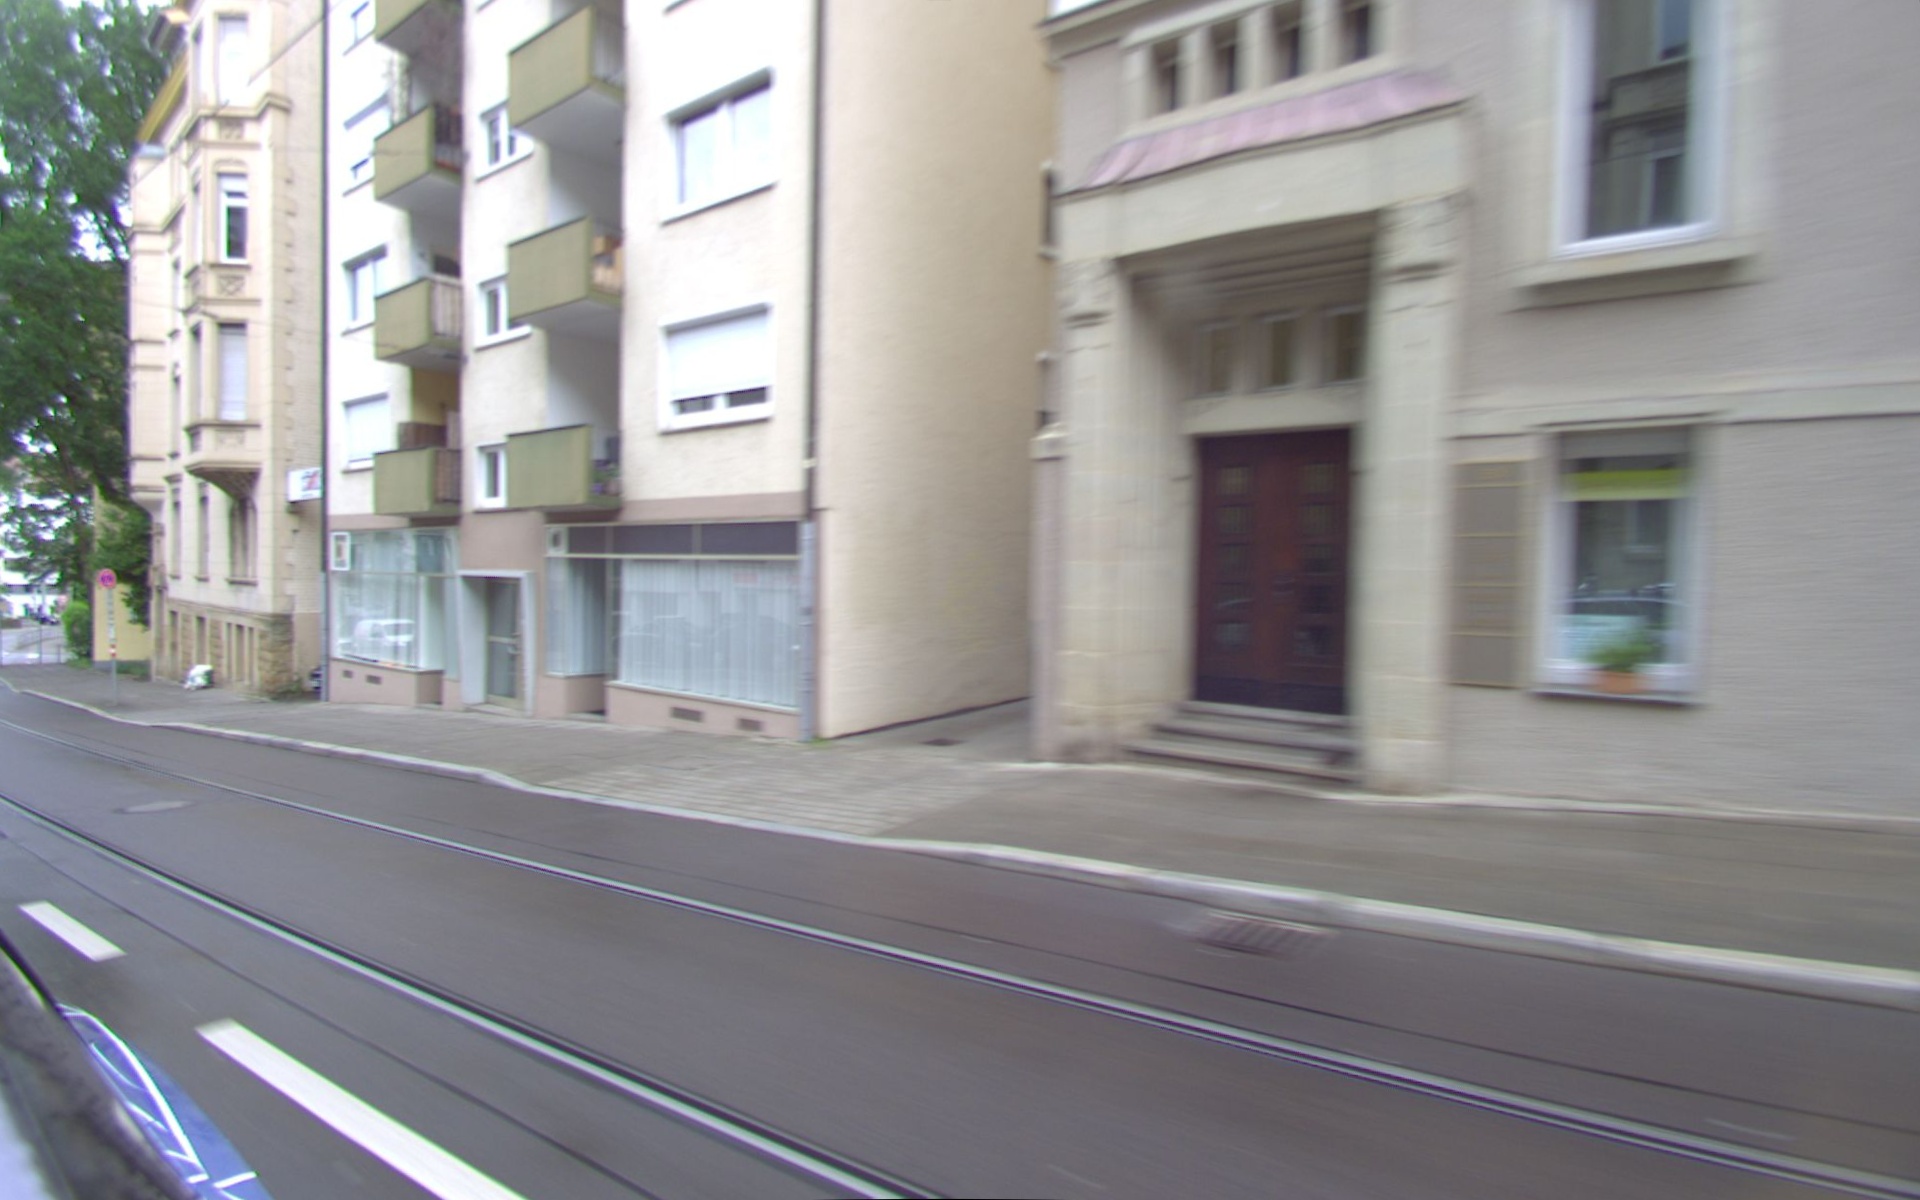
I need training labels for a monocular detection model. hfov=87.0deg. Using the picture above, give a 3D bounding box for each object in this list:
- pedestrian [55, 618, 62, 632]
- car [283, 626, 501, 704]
[{"bbox_3d":[-113.605,3.170,127.518,0.640,1.674,0.651,0,-2,-42],"label":"pedestrian"},{"bbox_3d":[-12.740,1.397,22.868,1.740,1.465,3.945,-2,-1,41],"label":"car"}]
